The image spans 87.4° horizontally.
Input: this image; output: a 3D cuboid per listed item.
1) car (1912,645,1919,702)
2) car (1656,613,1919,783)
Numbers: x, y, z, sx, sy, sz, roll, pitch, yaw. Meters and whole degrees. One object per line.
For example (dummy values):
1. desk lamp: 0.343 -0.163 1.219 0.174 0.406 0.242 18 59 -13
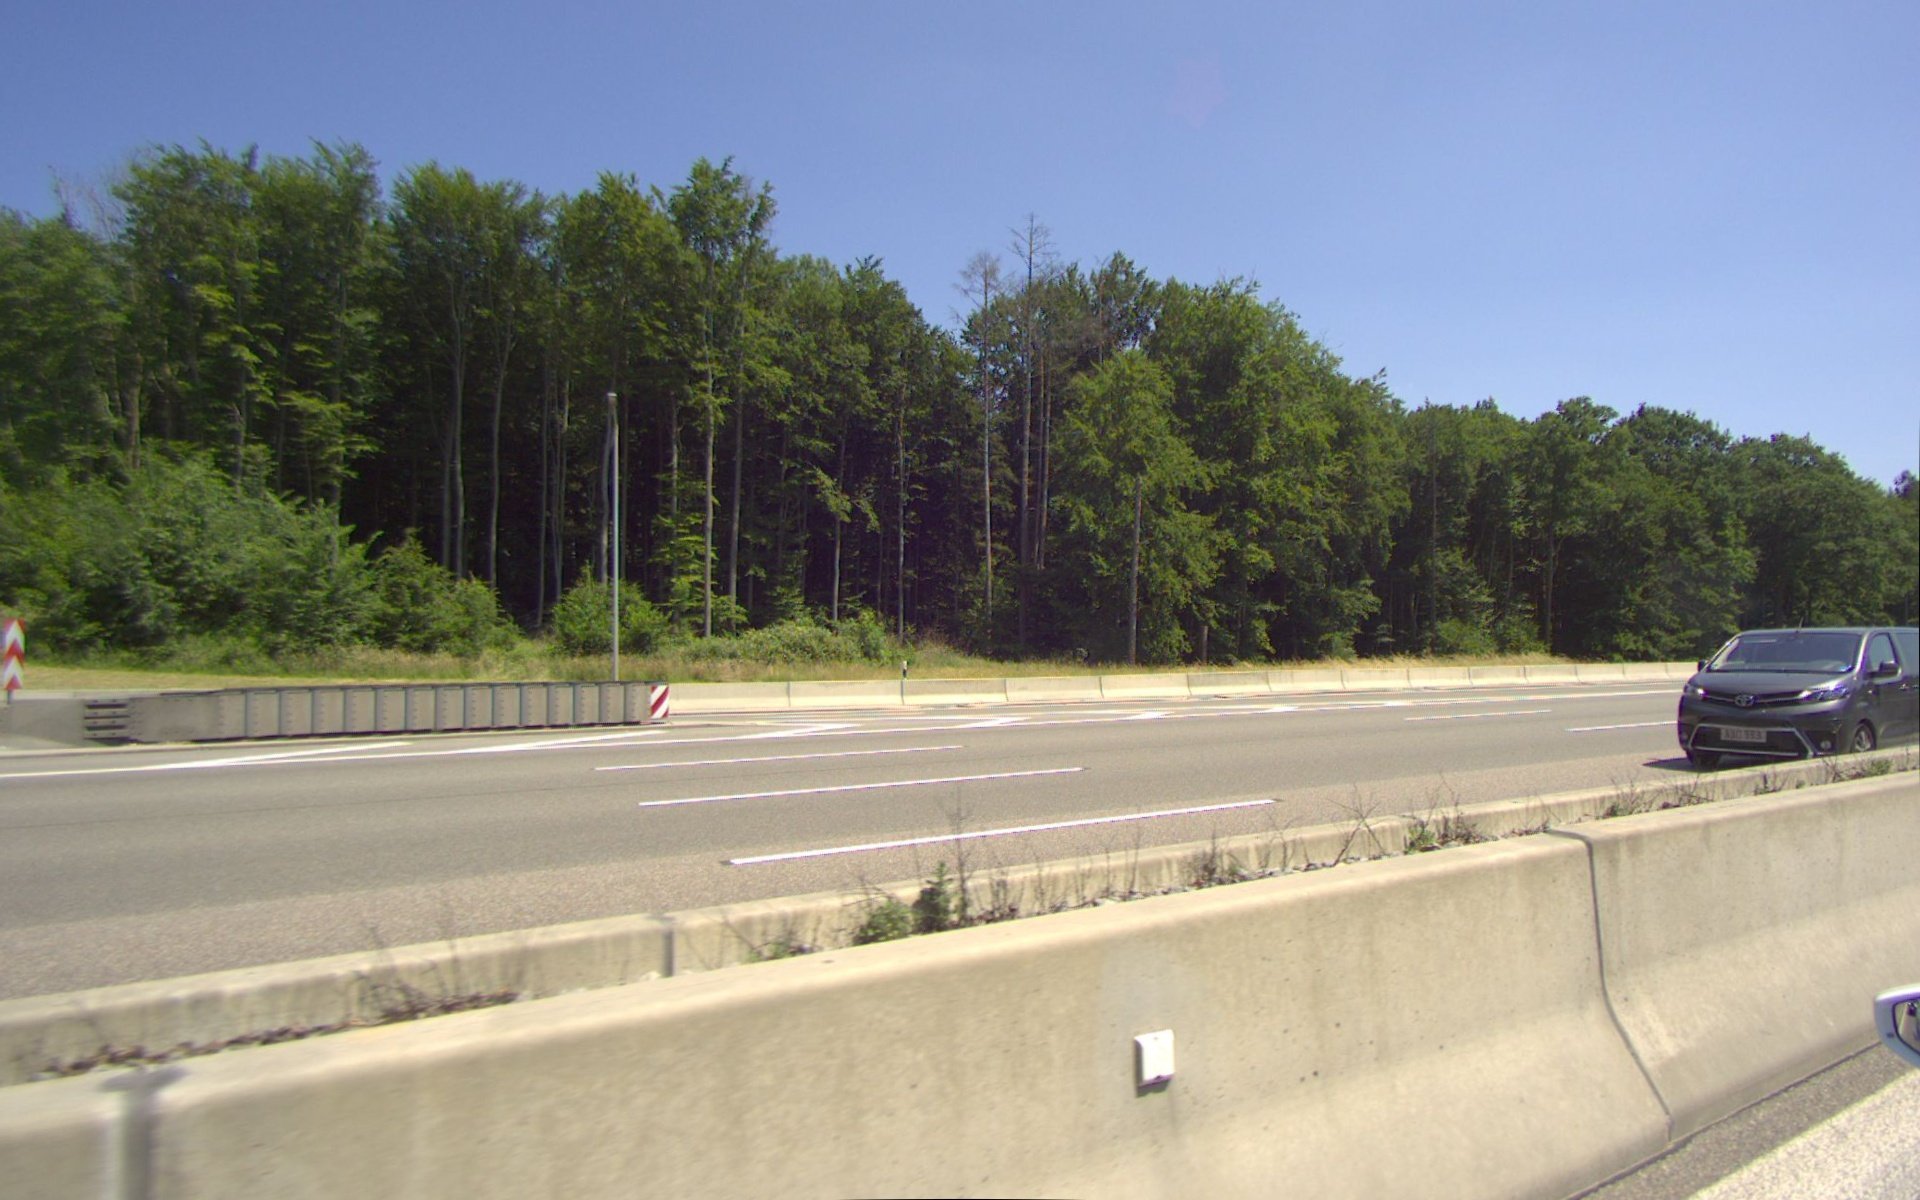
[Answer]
1. car: 27.861 1.979 27.204 4.783 1.483 1.752 1 -2 -30
2. car: 12.197 1.241 14.017 5.590 1.979 1.889 1 -3 -31
